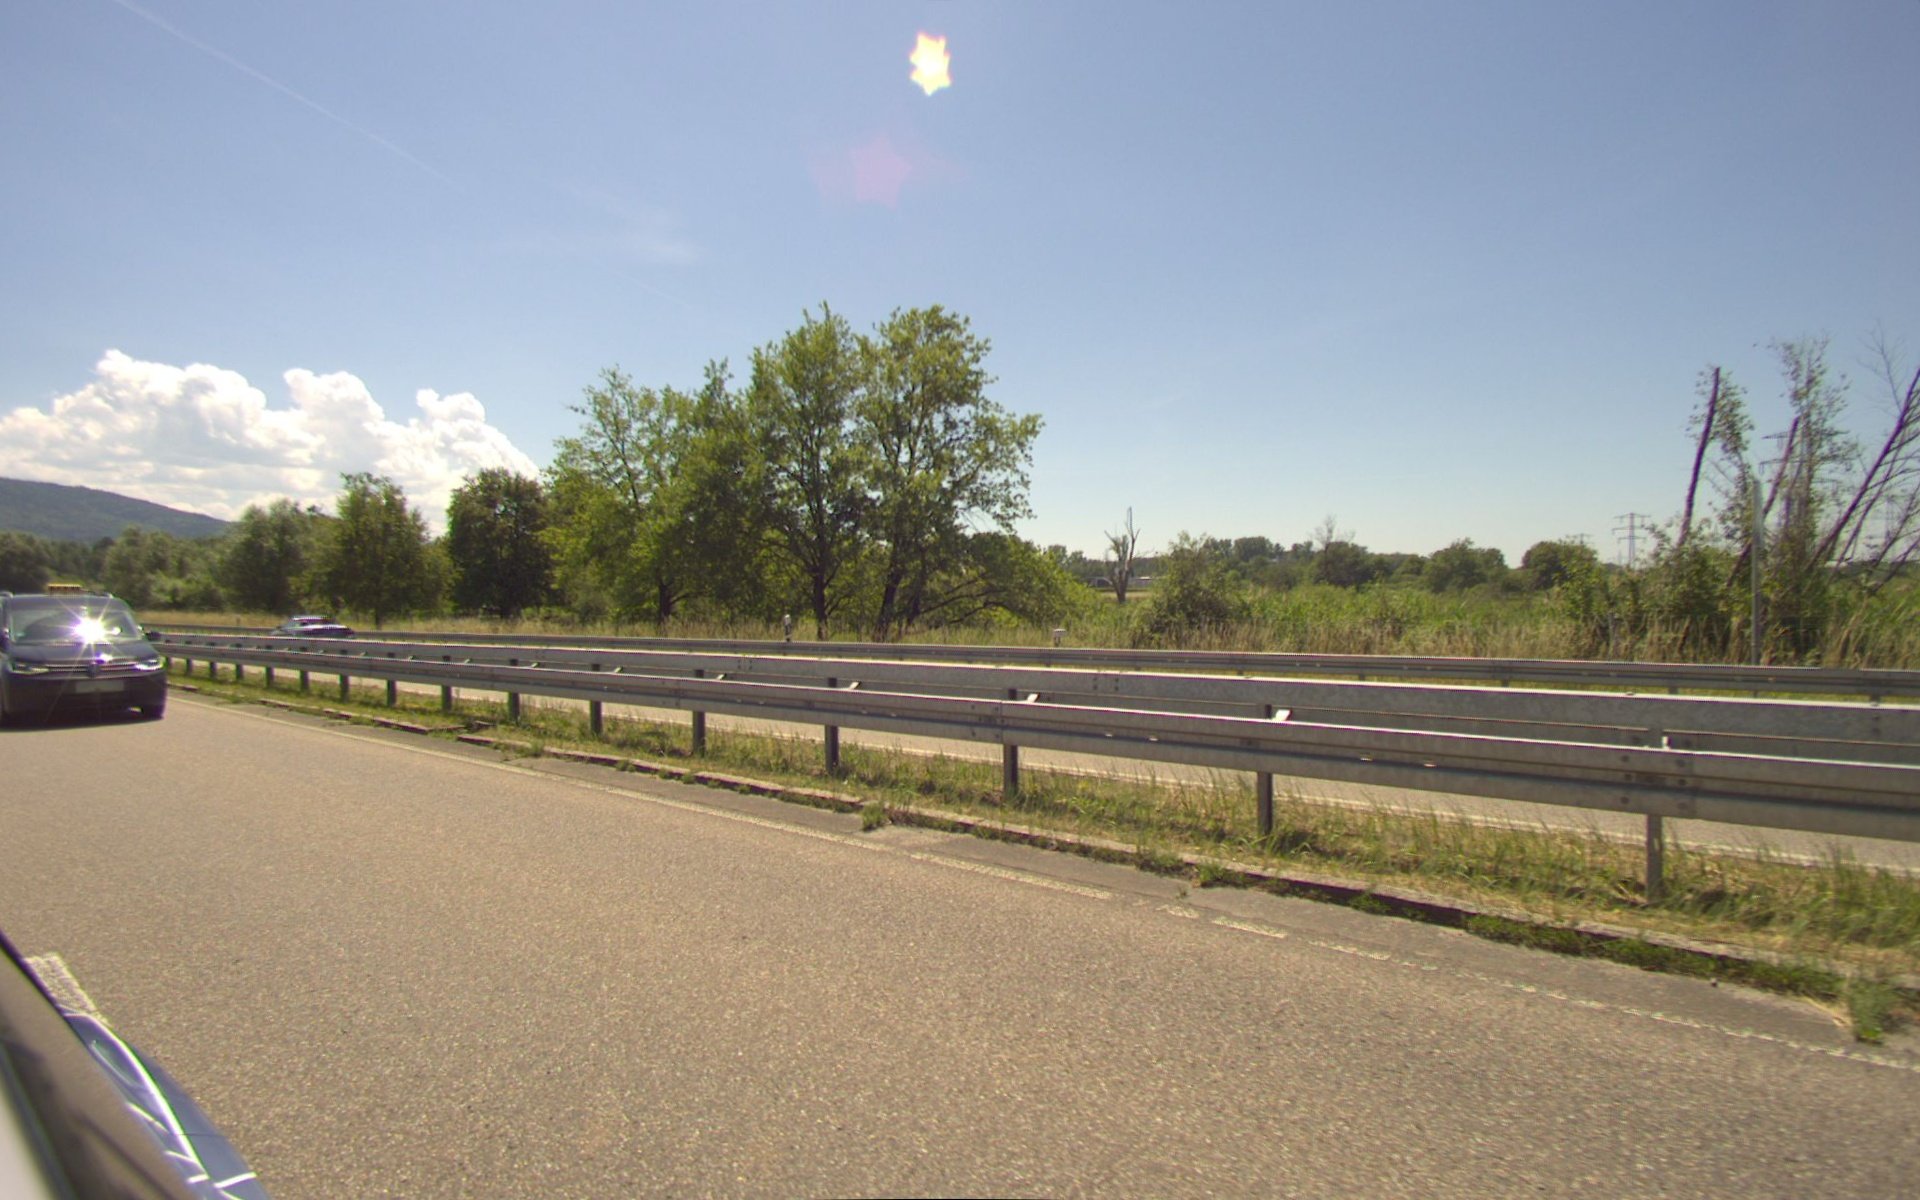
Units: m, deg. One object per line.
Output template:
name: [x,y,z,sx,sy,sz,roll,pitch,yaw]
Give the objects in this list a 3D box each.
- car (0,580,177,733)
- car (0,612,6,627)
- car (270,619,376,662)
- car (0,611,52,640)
car: [-13.586,0.750,15.107,5.568,1.901,1.836,-1,-1,40]
car: [-109.946,2.200,114.834,4.959,1.620,1.973,-1,-1,40]
car: [-22.142,1.376,35.118,4.656,1.395,1.904,-1,-2,42]
car: [-61.314,1.640,66.429,4.966,1.821,1.959,-1,-1,41]
